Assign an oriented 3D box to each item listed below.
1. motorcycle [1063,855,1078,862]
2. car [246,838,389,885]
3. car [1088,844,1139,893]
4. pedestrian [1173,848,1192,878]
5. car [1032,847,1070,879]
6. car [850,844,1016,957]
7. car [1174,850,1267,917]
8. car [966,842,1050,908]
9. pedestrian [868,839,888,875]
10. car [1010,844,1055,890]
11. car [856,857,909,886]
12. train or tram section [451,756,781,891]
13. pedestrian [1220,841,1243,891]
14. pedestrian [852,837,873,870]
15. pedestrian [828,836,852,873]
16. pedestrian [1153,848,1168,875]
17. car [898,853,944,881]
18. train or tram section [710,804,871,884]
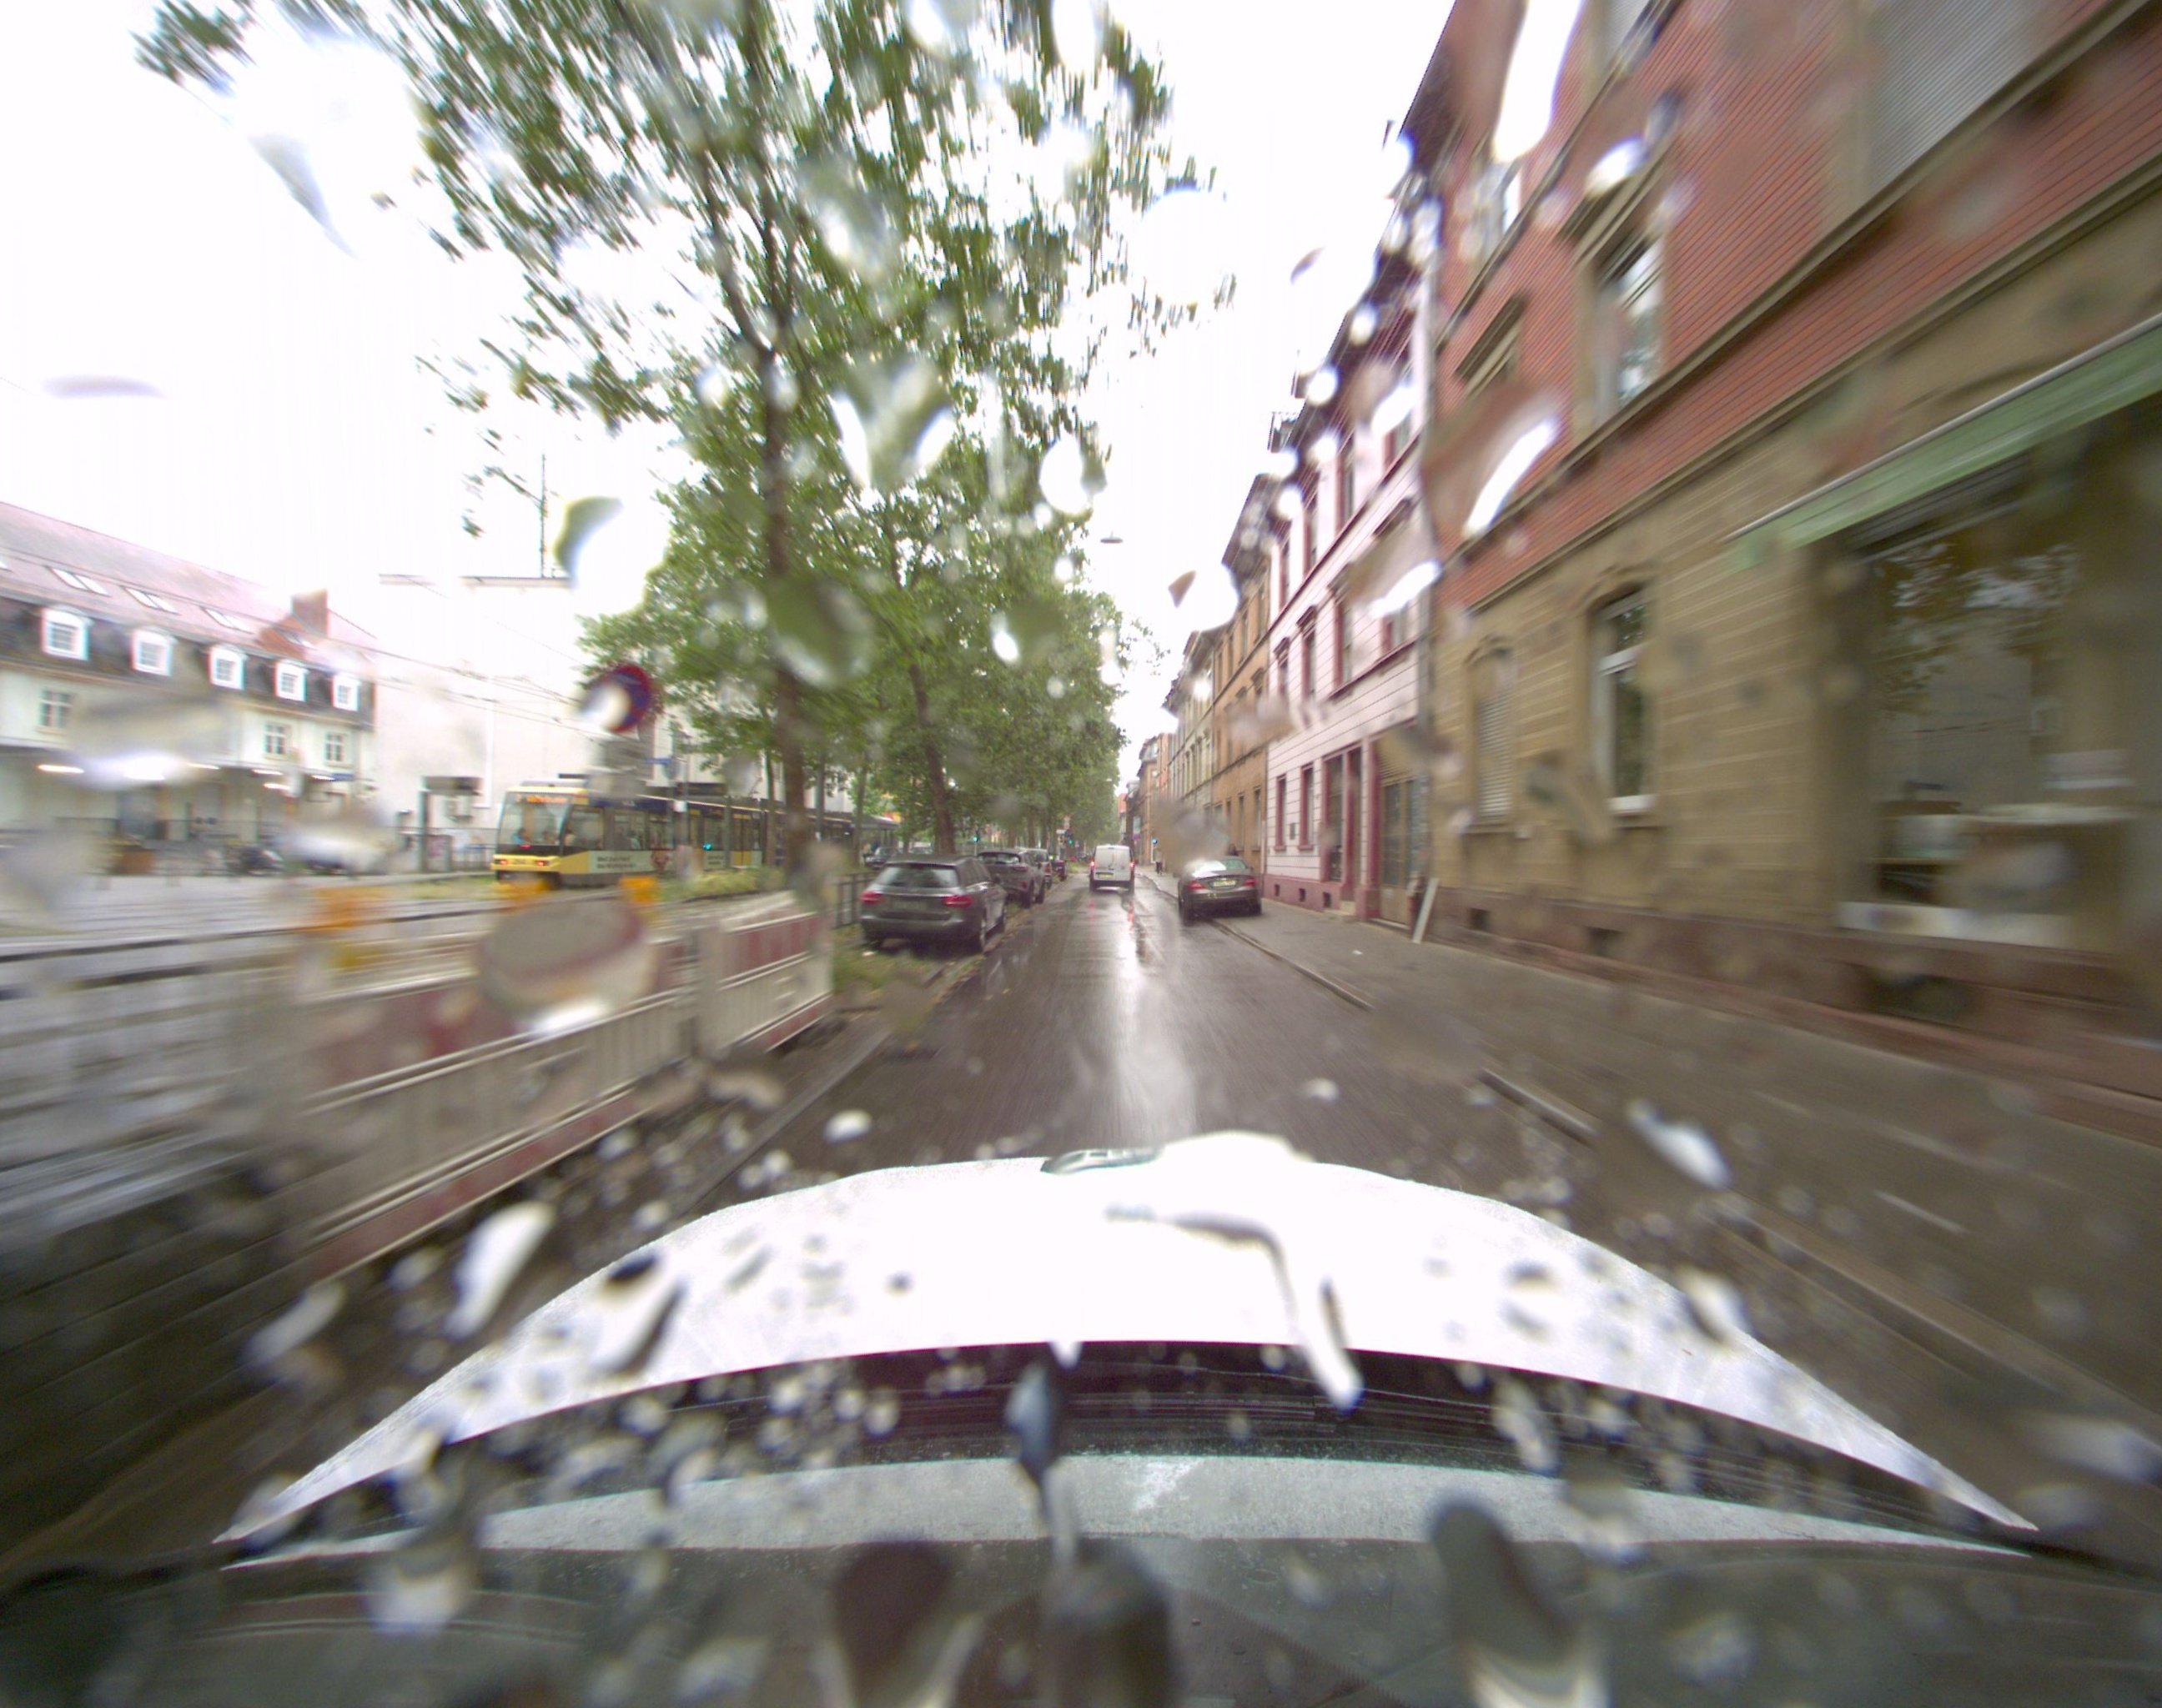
[{"bbox_3d":[-1.207,0.523,93.822,1.697,0.864,0.578,1,0,6],"label":"motorcycle"},{"bbox_3d":[-26.914,0.251,28.756,3.658,1.541,1.613,1,0,5],"label":"car"},{"bbox_3d":[1.296,0.585,32.801,1.896,1.797,4.115,1,-1,2],"label":"car"},{"bbox_3d":[5.354,0.464,42.962,0.837,1.511,1.108,-2,0,2],"label":"pedestrian"},{"bbox_3d":[-1.495,0.449,41.816,1.643,1.500,4.120,3,0,1],"label":"car"},{"bbox_3d":[-2.228,0.651,13.601,1.822,1.503,4.614,2,0,1],"label":"car"},{"bbox_3d":[3.382,0.666,20.562,1.805,1.420,4.702,-3,0,4],"label":"car"},{"bbox_3d":[-1.907,0.524,22.602,1.691,1.635,4.358,0,0,3],"label":"car"},{"bbox_3d":[-11.418,0.165,45.810,0.865,2.013,0.821,1,0,4],"label":"pedestrian"},{"bbox_3d":[-1.888,0.456,32.531,1.619,1.681,3.657,2,1,-1],"label":"car"},{"bbox_3d":[-10.285,0.874,42.430,1.733,1.343,3.756,4,0,1],"label":"car"},{"bbox_3d":[-14.981,-0.642,28.853,3.095,3.558,14.577,0,-1,1],"label":"train or tram section"},{"bbox_3d":[5.244,0.418,28.334,0.636,1.684,0.603,-2,0,0],"label":"pedestrian"},{"bbox_3d":[-11.611,-0.012,43.280,0.815,1.703,0.872,1,0,0],"label":"pedestrian"},{"bbox_3d":[-11.322,0.038,38.287,0.815,1.703,0.872,1,0,0],"label":"pedestrian"},{"bbox_3d":[5.325,0.496,54.526,0.837,1.716,1.108,-3,0,2],"label":"pedestrian"},{"bbox_3d":[-9.854,0.747,50.561,1.987,1.613,4.000,1,0,0],"label":"car"},{"bbox_3d":[-14.738,-0.280,43.352,3.095,3.558,14.674,0,-1,1],"label":"train or tram section"}]
